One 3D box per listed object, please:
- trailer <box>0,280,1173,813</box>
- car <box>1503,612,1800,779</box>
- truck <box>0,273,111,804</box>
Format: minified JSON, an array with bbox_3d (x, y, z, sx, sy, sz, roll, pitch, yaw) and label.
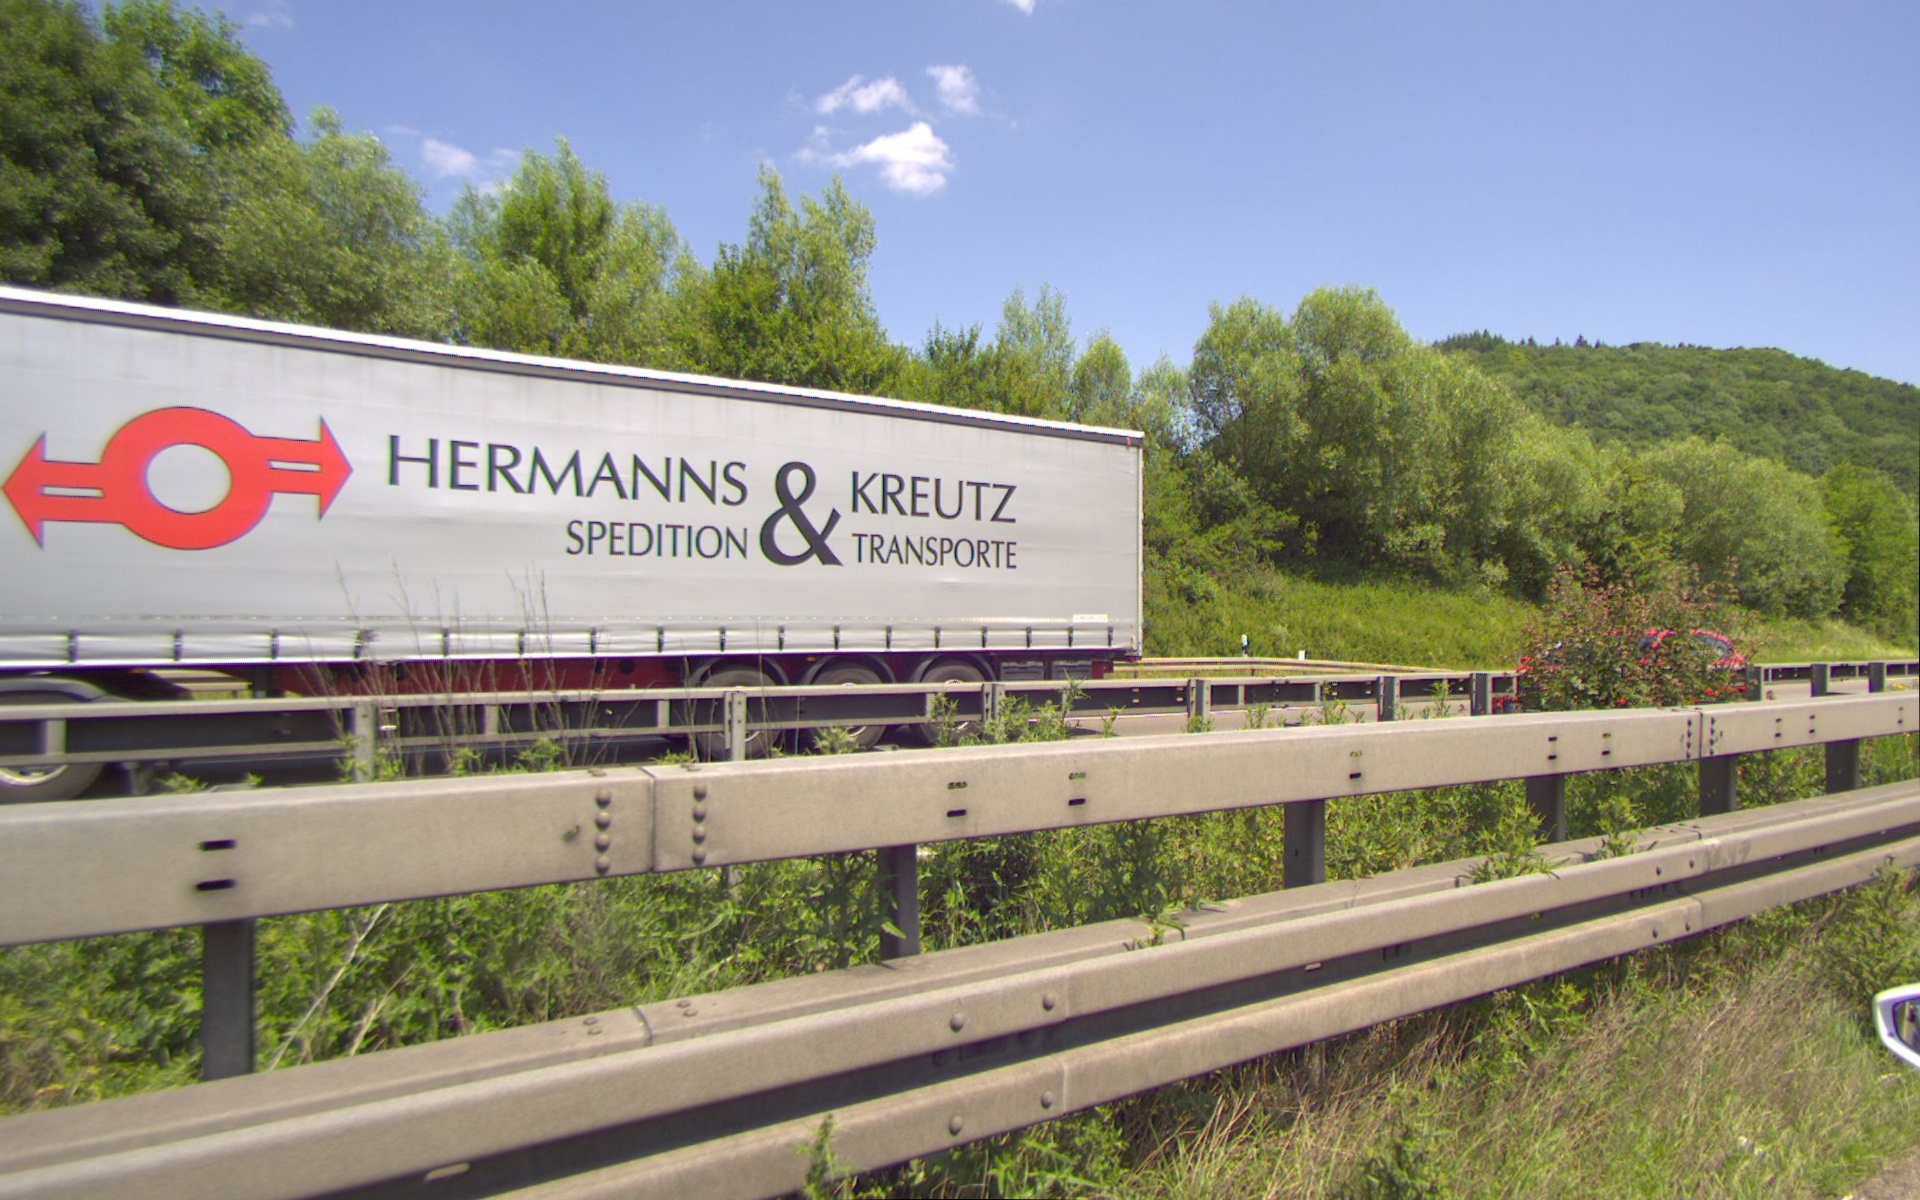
[{"bbox_3d":[-3.885,-0.321,11.229,13.991,4.053,2.769,1,0,-30],"label":"trailer"},{"bbox_3d":[9.969,1.227,14.417,4.286,2.040,1.983,1,0,-32],"label":"car"},{"bbox_3d":[-10.201,-0.492,7.559,5.305,4.054,2.716,1,-2,-30],"label":"truck"}]
